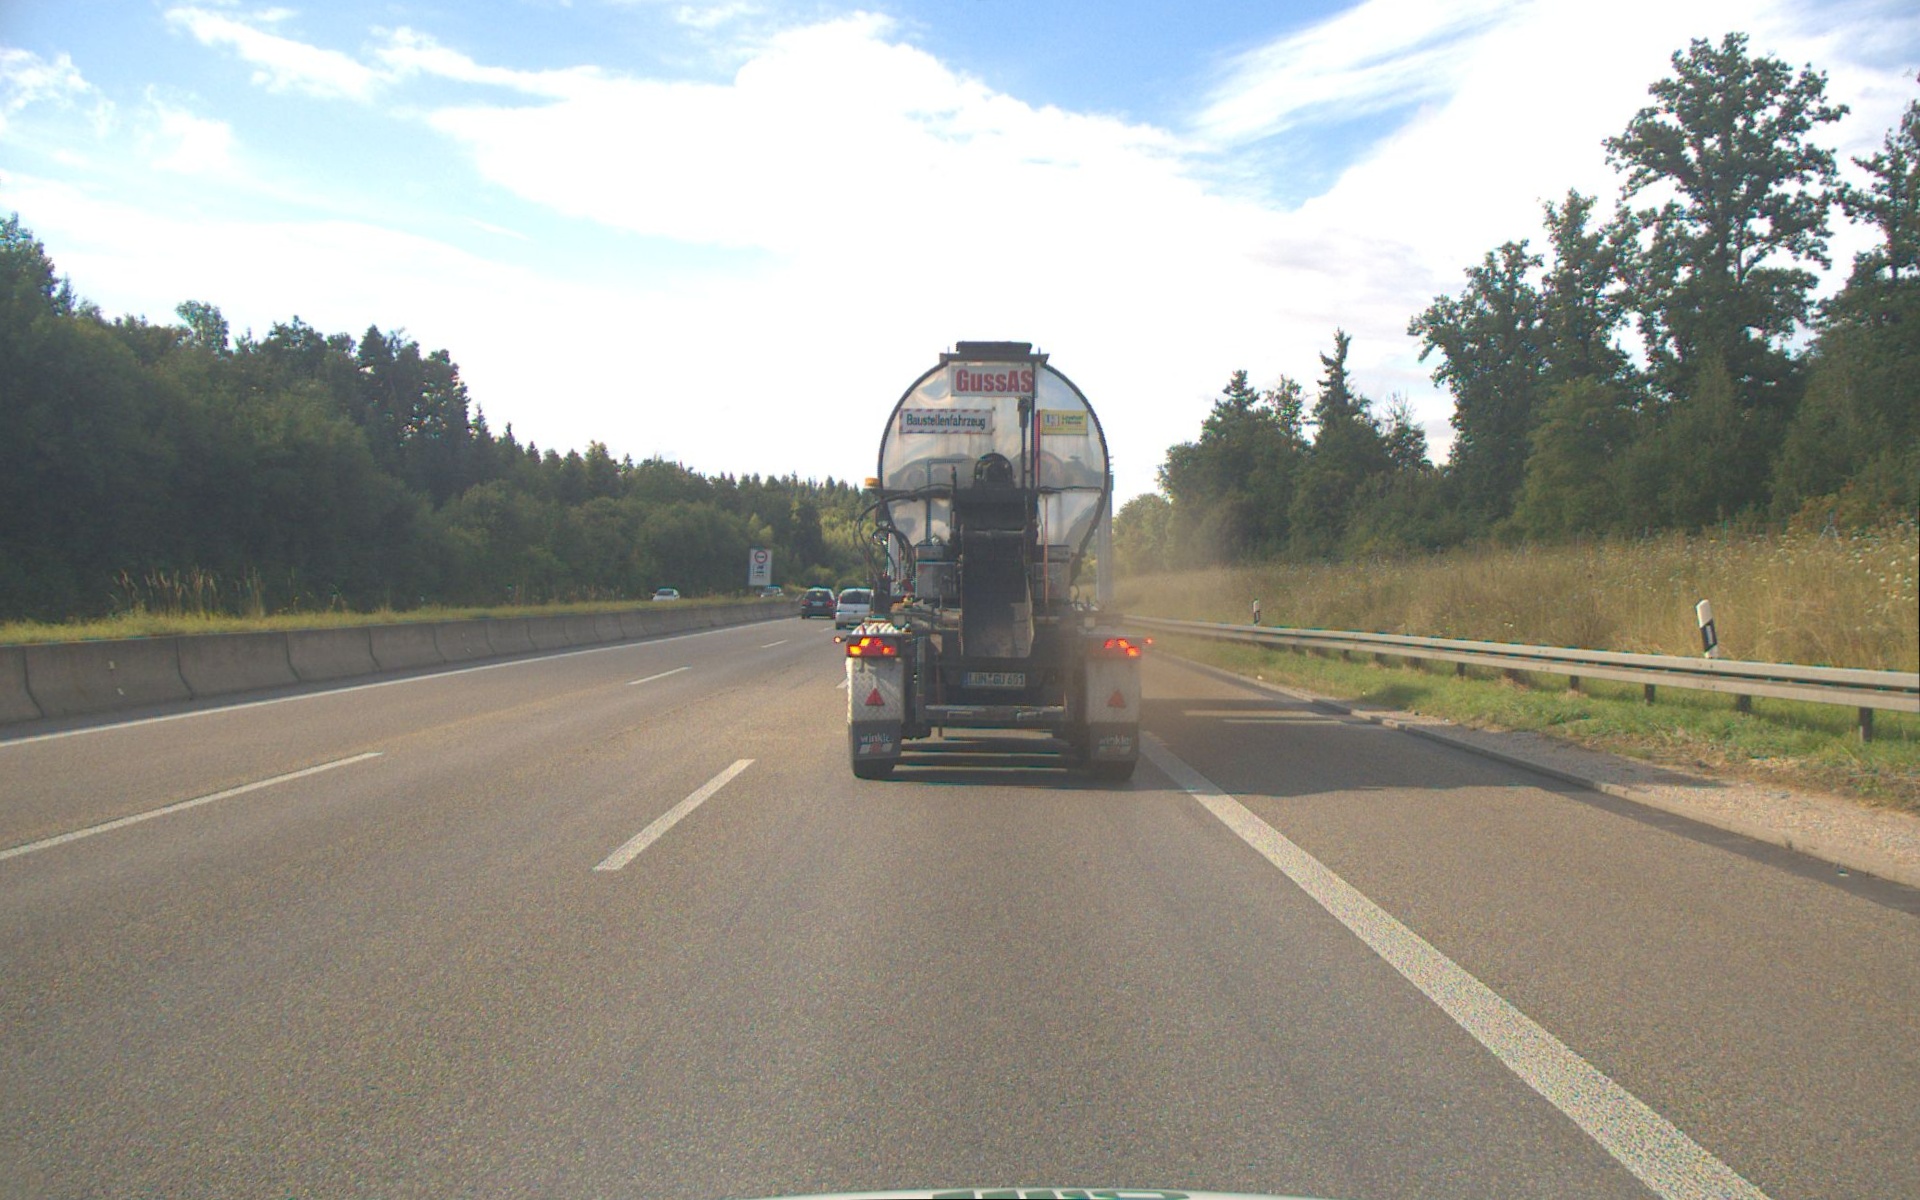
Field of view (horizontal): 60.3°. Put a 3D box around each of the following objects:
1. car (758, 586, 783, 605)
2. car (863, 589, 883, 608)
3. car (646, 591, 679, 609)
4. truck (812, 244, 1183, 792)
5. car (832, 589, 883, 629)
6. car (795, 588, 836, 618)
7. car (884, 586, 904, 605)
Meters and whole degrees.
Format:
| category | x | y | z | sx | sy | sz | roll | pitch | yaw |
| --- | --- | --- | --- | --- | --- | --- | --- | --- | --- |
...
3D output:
| category | x | y | z | sx | sy | sz | roll | pitch | yaw |
| --- | --- | --- | --- | --- | --- | --- | --- | --- | --- |
| car | -18.080 | -0.447 | 158.041 | 1.867 | 1.747 | 4.000 | 0 | 0 | 0 |
| car | -7.348 | -0.171 | 139.681 | 1.585 | 1.571 | 3.519 | 0 | 0 | -1 |
| car | -22.240 | -0.038 | 123.670 | 1.779 | 1.313 | 3.544 | 0 | 0 | 0 |
| truck | 0.301 | -0.665 | 18.487 | 2.853 | 4.230 | 11.269 | 0 | 0 | 0 |
| car | -4.116 | 0.340 | 67.100 | 1.798 | 1.544 | 4.333 | 0 | 0 | 0 |
| car | -7.732 | 0.135 | 88.627 | 1.798 | 1.544 | 4.333 | 0 | 0 | 0 |
| car | -6.443 | -0.441 | 161.421 | 1.808 | 1.814 | 3.999 | 0 | 0 | -1 |
